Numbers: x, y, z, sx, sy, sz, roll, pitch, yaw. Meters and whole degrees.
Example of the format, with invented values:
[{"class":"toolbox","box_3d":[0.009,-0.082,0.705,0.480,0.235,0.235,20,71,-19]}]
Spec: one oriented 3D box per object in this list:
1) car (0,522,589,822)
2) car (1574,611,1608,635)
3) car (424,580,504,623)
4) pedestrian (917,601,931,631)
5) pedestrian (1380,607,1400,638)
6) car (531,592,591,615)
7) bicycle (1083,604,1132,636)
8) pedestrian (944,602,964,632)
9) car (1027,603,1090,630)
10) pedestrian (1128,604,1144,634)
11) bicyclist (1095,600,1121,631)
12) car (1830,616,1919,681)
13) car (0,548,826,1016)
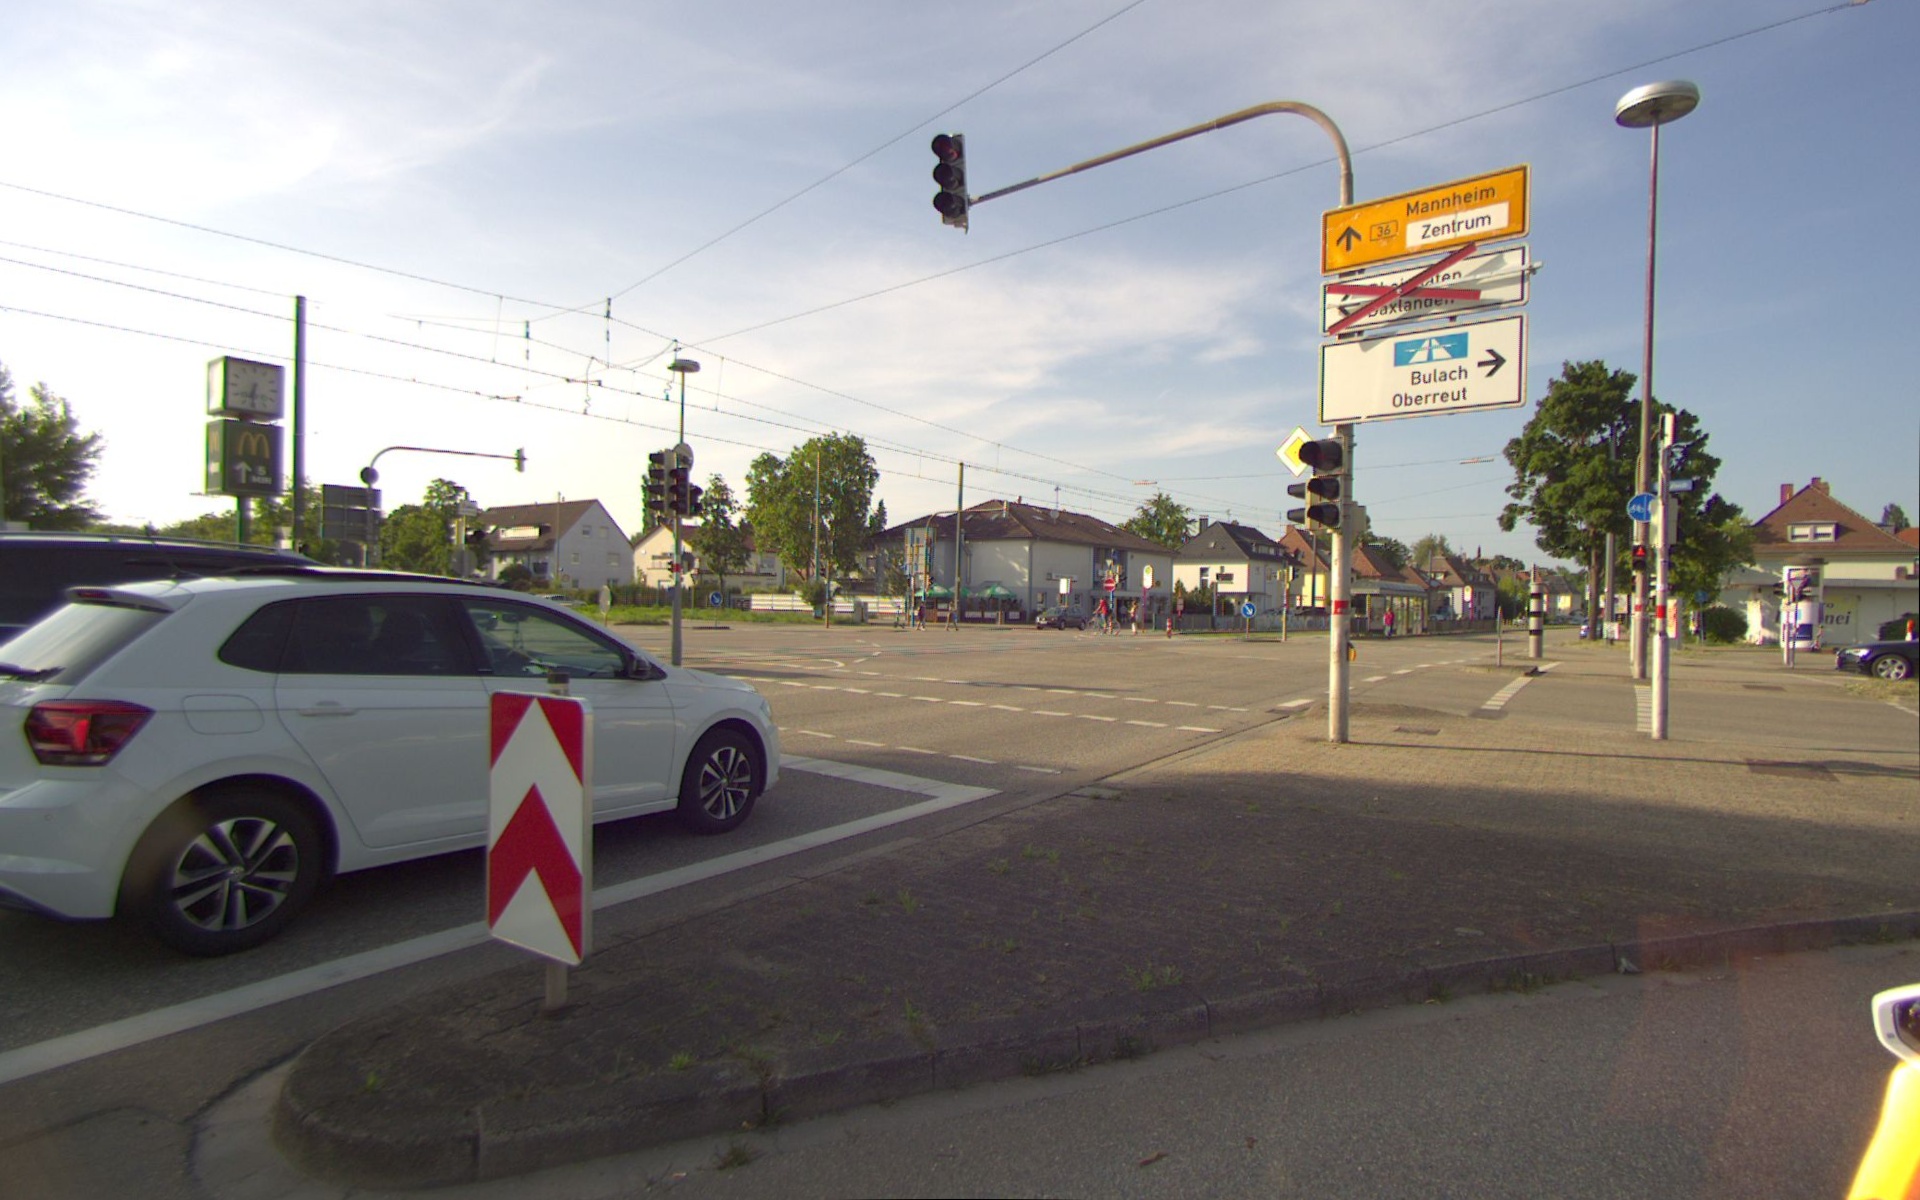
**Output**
[{"class":"car","box_3d":[-5.174,0.414,7.272,1.486,1.673,4.731,1,0,33]},{"class":"car","box_3d":[40.700,1.510,64.765,1.652,1.416,3.988,3,0,34]},{"class":"car","box_3d":[-21.832,0.050,44.164,3.935,1.817,1.514,1,0,36]},{"class":"pedestrian","box_3d":[-1.965,0.864,54.733,0.504,1.620,0.538,1,0,32]},{"class":"pedestrian","box_3d":[22.296,1.170,52.071,0.743,1.519,0.824,3,0,37]},{"class":"car","box_3d":[-33.320,0.294,84.049,1.970,1.706,4.200,3,0,40]},{"class":"bicycle","box_3d":[7.018,0.947,47.826,2.041,1.365,1.108,3,0,25]},{"class":"pedestrian","box_3d":[-0.340,0.958,55.752,0.737,1.620,0.810,1,0,32]},{"class":"car","box_3d":[6.097,0.996,61.762,1.966,1.528,4.595,1,0,33]},{"class":"pedestrian","box_3d":[8.797,0.949,50.197,0.571,1.450,0.545,3,0,38]},{"class":"bicyclist","box_3d":[7.065,0.734,47.798,0.870,1.450,1.136,3,0,25]},{"class":"car","box_3d":[23.024,1.141,22.804,4.760,1.430,1.710,1,0,35]},{"class":"car","box_3d":[-2.627,0.586,5.262,1.633,1.462,4.004,1,0,32]}]
